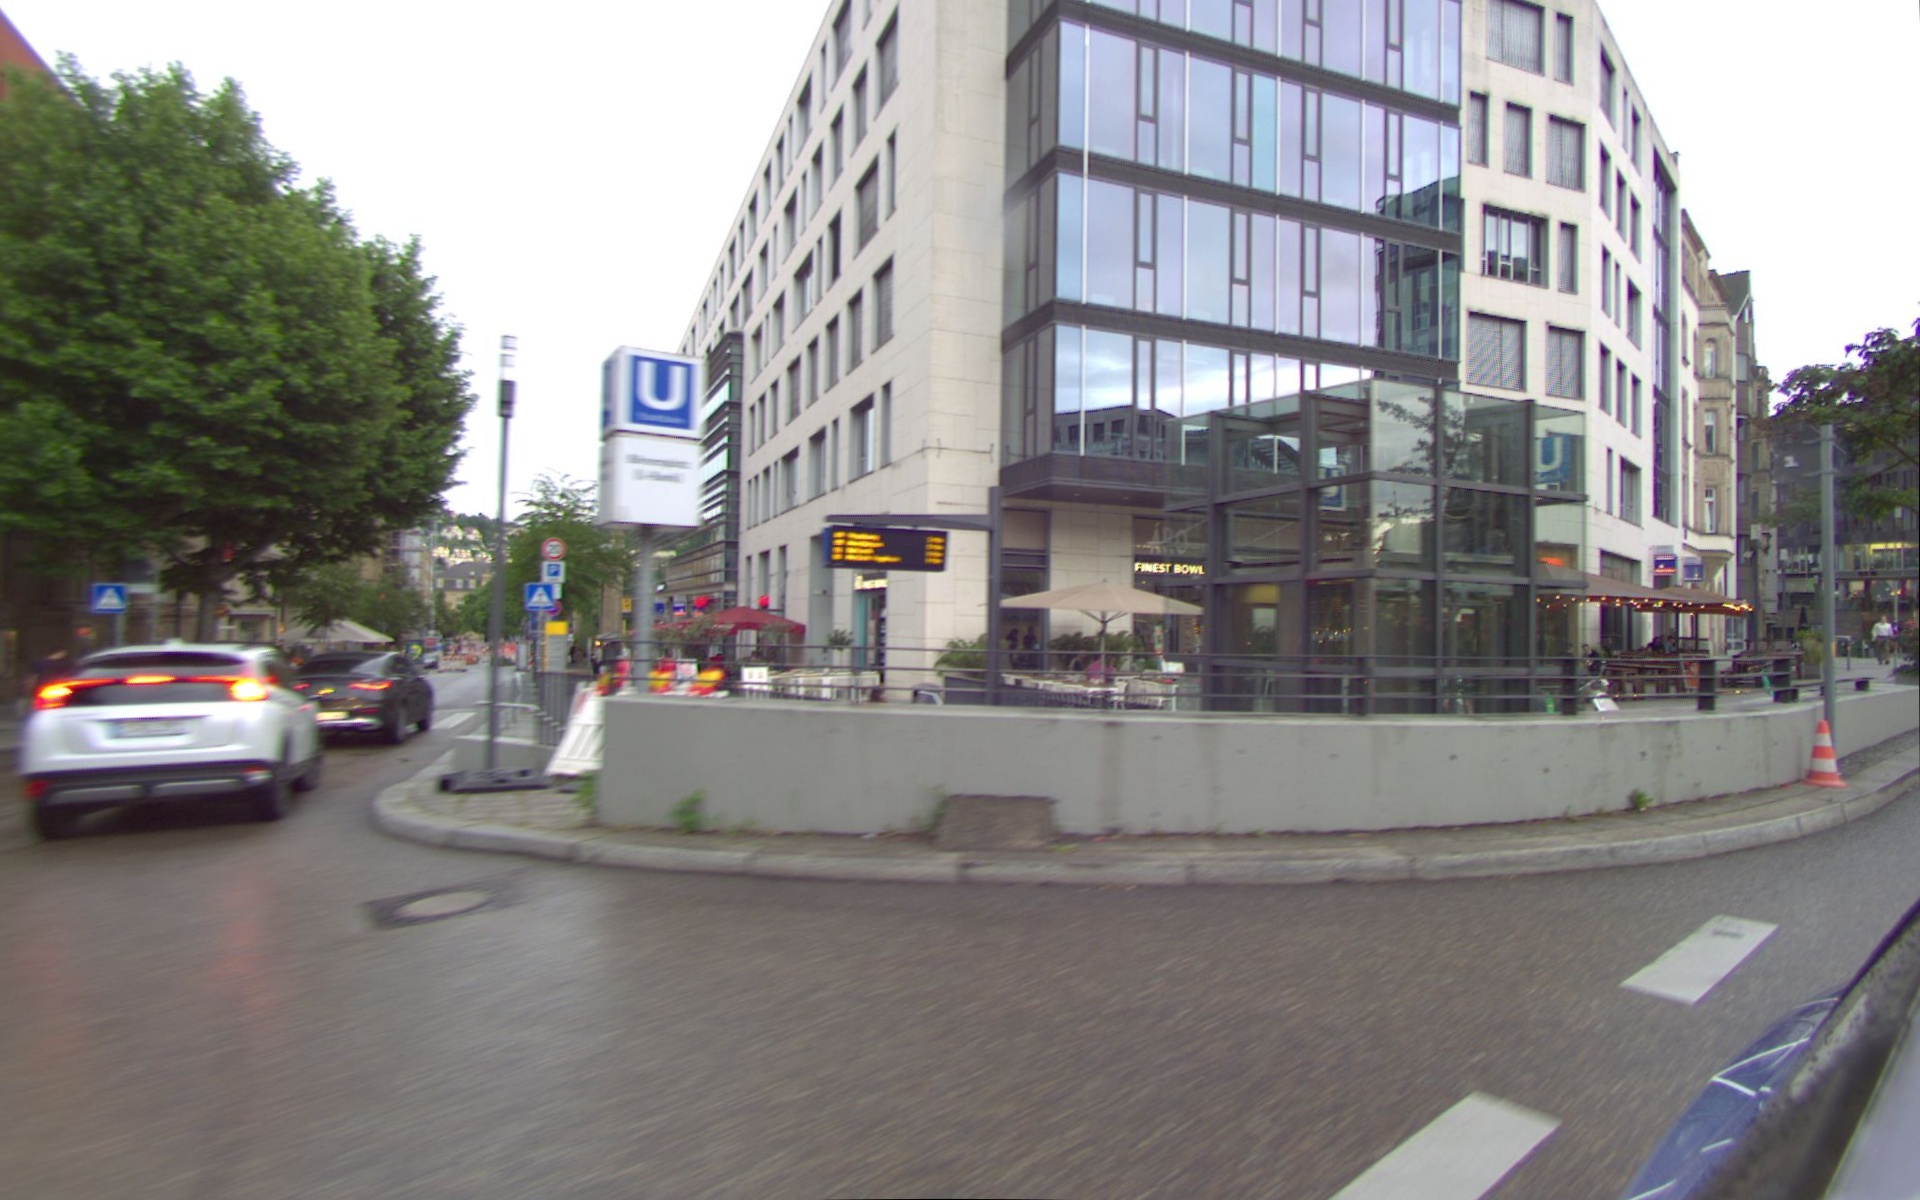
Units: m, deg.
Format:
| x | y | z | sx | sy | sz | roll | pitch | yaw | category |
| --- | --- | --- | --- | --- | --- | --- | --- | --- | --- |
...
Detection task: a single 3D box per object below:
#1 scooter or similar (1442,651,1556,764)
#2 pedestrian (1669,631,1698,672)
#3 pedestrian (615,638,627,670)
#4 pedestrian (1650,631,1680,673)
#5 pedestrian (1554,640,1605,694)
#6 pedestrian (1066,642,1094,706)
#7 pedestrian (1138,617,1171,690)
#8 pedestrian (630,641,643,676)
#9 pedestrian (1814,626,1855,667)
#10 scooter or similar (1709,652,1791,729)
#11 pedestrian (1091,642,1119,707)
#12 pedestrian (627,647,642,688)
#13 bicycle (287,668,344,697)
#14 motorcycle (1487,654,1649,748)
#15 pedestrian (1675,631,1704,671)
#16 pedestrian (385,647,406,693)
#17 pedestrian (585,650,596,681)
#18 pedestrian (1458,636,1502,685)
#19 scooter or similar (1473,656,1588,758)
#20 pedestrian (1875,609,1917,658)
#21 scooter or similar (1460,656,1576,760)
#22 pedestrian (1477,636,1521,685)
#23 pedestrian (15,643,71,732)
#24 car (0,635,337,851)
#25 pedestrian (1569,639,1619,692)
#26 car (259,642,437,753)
| x | y | z | sx | sy | sz | roll | pitch | yaw | category |
| --- | --- | --- | --- | --- | --- | --- | --- | --- | --- |
| 6.342 | 1.236 | 11.940 | 0.358 | 1.253 | 1.115 | 1 | -3 | -39 | scooter or similar |
| 24.213 | 1.734 | 33.887 | 0.627 | 1.344 | 0.625 | -5 | -5 | 45 | pedestrian |
| -18.676 | 2.988 | 55.750 | 0.560 | 1.723 | 0.560 | 0 | -1 | -24 | pedestrian |
| 22.999 | 1.707 | 33.023 | 0.627 | 1.344 | 0.625 | -5 | -5 | 45 | pedestrian |
| 15.739 | 1.699 | 25.717 | 0.622 | 1.344 | 0.820 | 0 | -4 | -25 | pedestrian |
| 2.729 | 1.670 | 22.999 | 0.468 | 1.421 | 0.437 | 0 | -1 | -22 | pedestrian |
| 5.271 | 1.437 | 27.402 | 0.574 | 1.918 | 0.642 | 0 | -1 | -32 | pedestrian |
| -16.301 | 2.959 | 51.049 | 0.560 | 1.723 | 0.560 | 0 | -1 | -24 | pedestrian |
| 29.439 | 1.562 | 34.079 | 0.622 | 1.344 | 0.777 | 0 | -4 | -25 | pedestrian |
| 13.999 | 1.583 | 17.941 | 1.089 | 1.288 | 0.474 | -2 | -3 | 41 | scooter or similar |
| 3.254 | 1.665 | 22.715 | 0.468 | 1.421 | 0.437 | 0 | -1 | -22 | pedestrian |
| -14.087 | 2.925 | 43.836 | 0.560 | 1.723 | 0.560 | 0 | -1 | -24 | pedestrian |
| -24.072 | 3.086 | 37.808 | 1.719 | 0.997 | 0.523 | 0 | -3 | -25 | bicycle |
| 8.298 | 1.342 | 13.883 | 0.596 | 1.173 | 1.780 | 1 | -3 | -39 | motorcycle |
| 24.845 | 1.741 | 34.459 | 0.627 | 1.344 | 0.625 | -5 | -5 | 45 | pedestrian |
| -25.675 | 3.154 | 46.015 | 0.761 | 2.040 | 0.782 | 1 | -3 | -26 | pedestrian |
| -21.182 | 3.722 | 57.982 | 0.560 | 1.723 | 0.560 | 0 | -1 | -24 | pedestrian |
| 14.663 | 1.715 | 28.543 | 0.622 | 1.344 | 0.820 | 0 | -4 | -25 | pedestrian |
| 7.067 | 1.293 | 12.565 | 0.522 | 1.173 | 1.115 | 1 | -3 | -39 | scooter or similar |
| 36.702 | 1.302 | 39.685 | 1.226 | 1.861 | 0.874 | 0 | -3 | -35 | pedestrian |
| 6.700 | 1.271 | 12.192 | 0.435 | 1.173 | 1.115 | 1 | -3 | -39 | scooter or similar |
| 15.355 | 1.717 | 28.830 | 0.622 | 1.344 | 0.820 | 0 | -4 | -25 | pedestrian |
| -19.477 | 1.839 | 21.503 | 0.793 | 1.832 | 0.609 | 1 | -3 | -37 | pedestrian |
| -7.611 | 1.281 | 10.193 | 1.824 | 1.642 | 4.114 | -1 | -4 | -25 | car |
| 16.436 | 1.695 | 26.229 | 0.622 | 1.344 | 0.820 | 0 | -4 | -25 | pedestrian |
| -11.021 | 1.651 | 18.601 | 1.962 | 1.713 | 4.758 | 1 | -2 | -21 | car |
